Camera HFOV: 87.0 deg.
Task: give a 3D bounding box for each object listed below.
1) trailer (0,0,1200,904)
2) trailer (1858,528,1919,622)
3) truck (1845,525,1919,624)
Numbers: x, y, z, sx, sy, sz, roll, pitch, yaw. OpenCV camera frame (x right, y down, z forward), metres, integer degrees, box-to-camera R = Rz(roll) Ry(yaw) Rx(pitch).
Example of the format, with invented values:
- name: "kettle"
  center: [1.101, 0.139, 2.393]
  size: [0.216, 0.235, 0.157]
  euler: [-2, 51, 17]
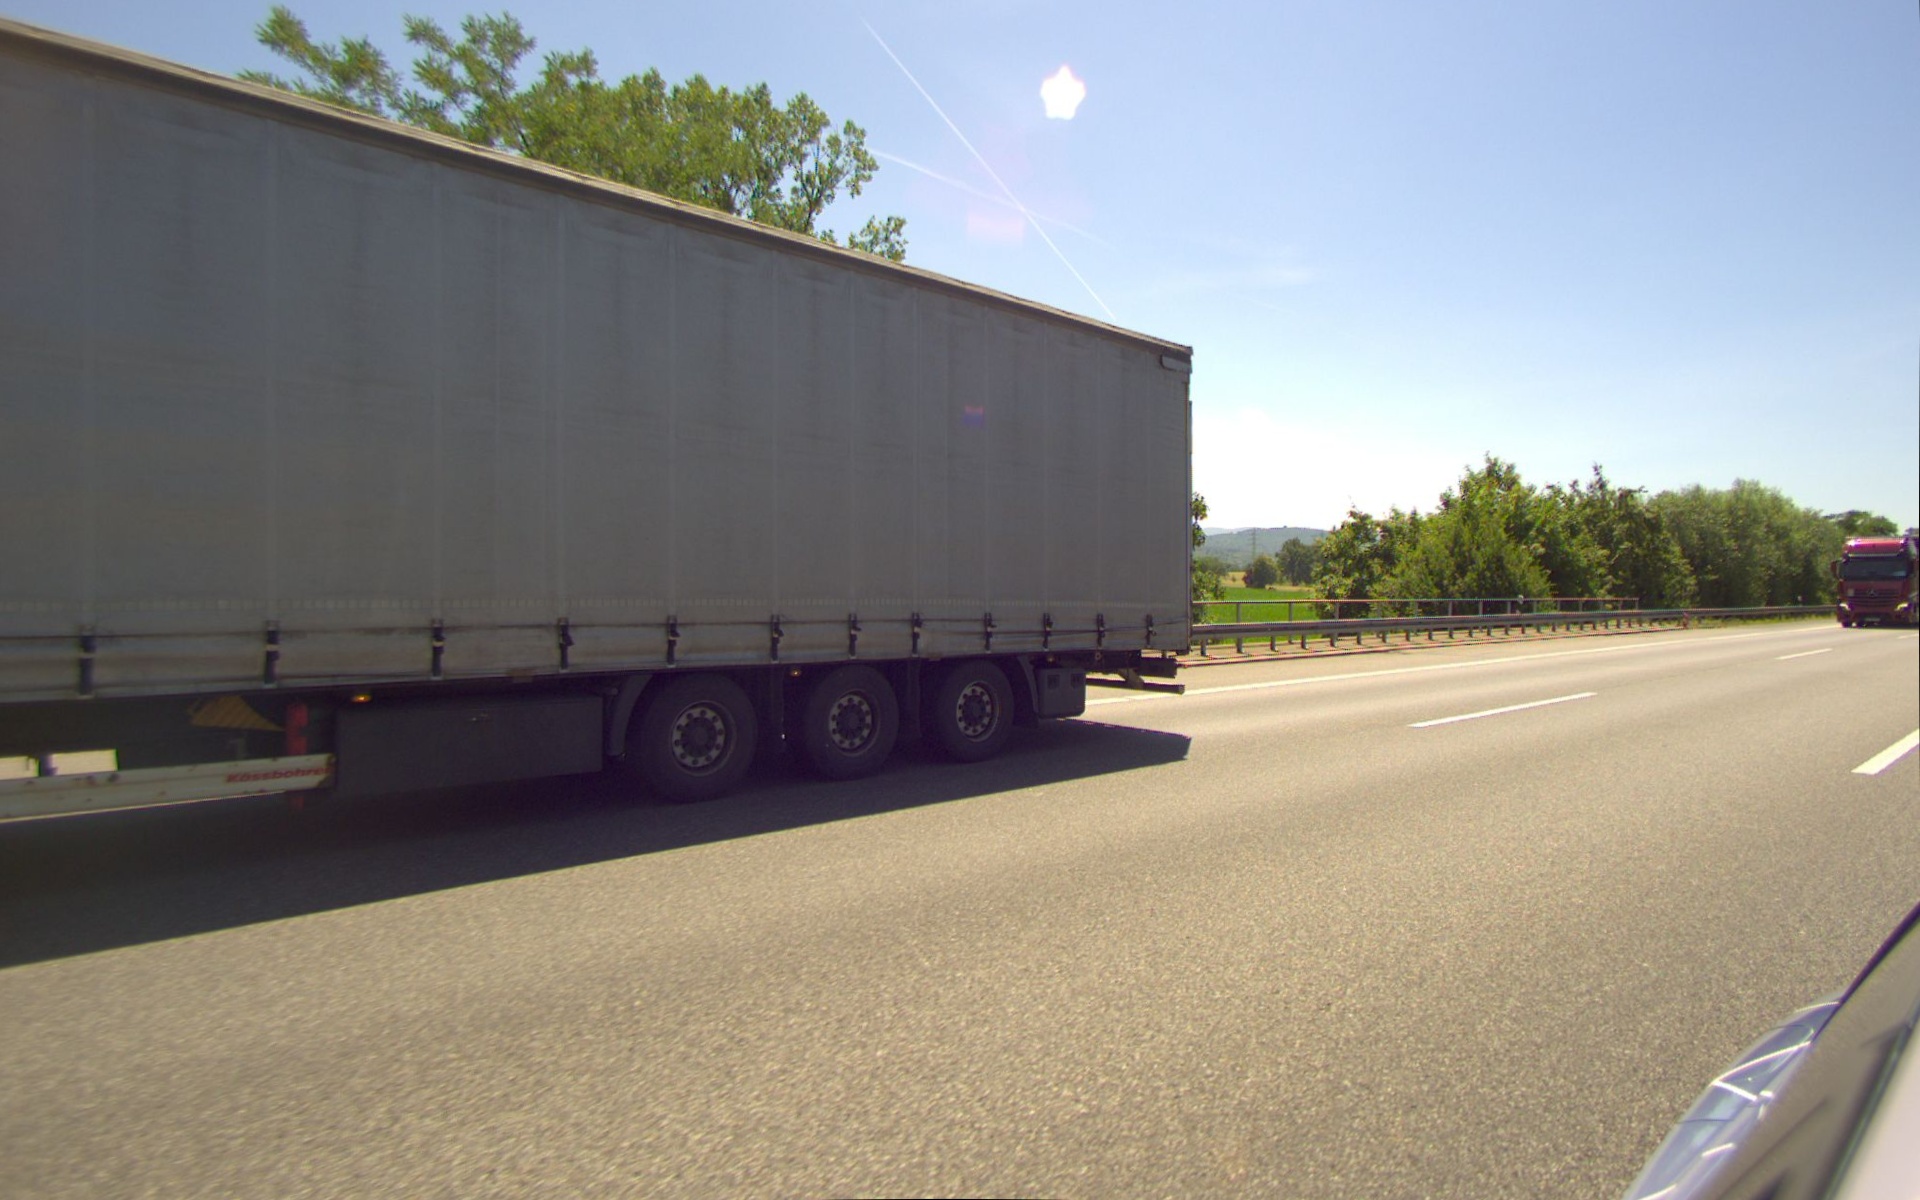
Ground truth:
- name: "trailer"
  center: [-3.310, -0.740, 7.324]
  size: [13.008, 4.169, 2.705]
  euler: [-1, 1, -41]
- name: "trailer"
  center: [46.543, -1.191, 49.210]
  size: [12.086, 4.169, 2.800]
  euler: [-1, 1, -41]
- name: "truck"
  center: [42.462, -1.122, 45.648]
  size: [7.635, 4.169, 2.800]
  euler: [-1, 1, -41]
